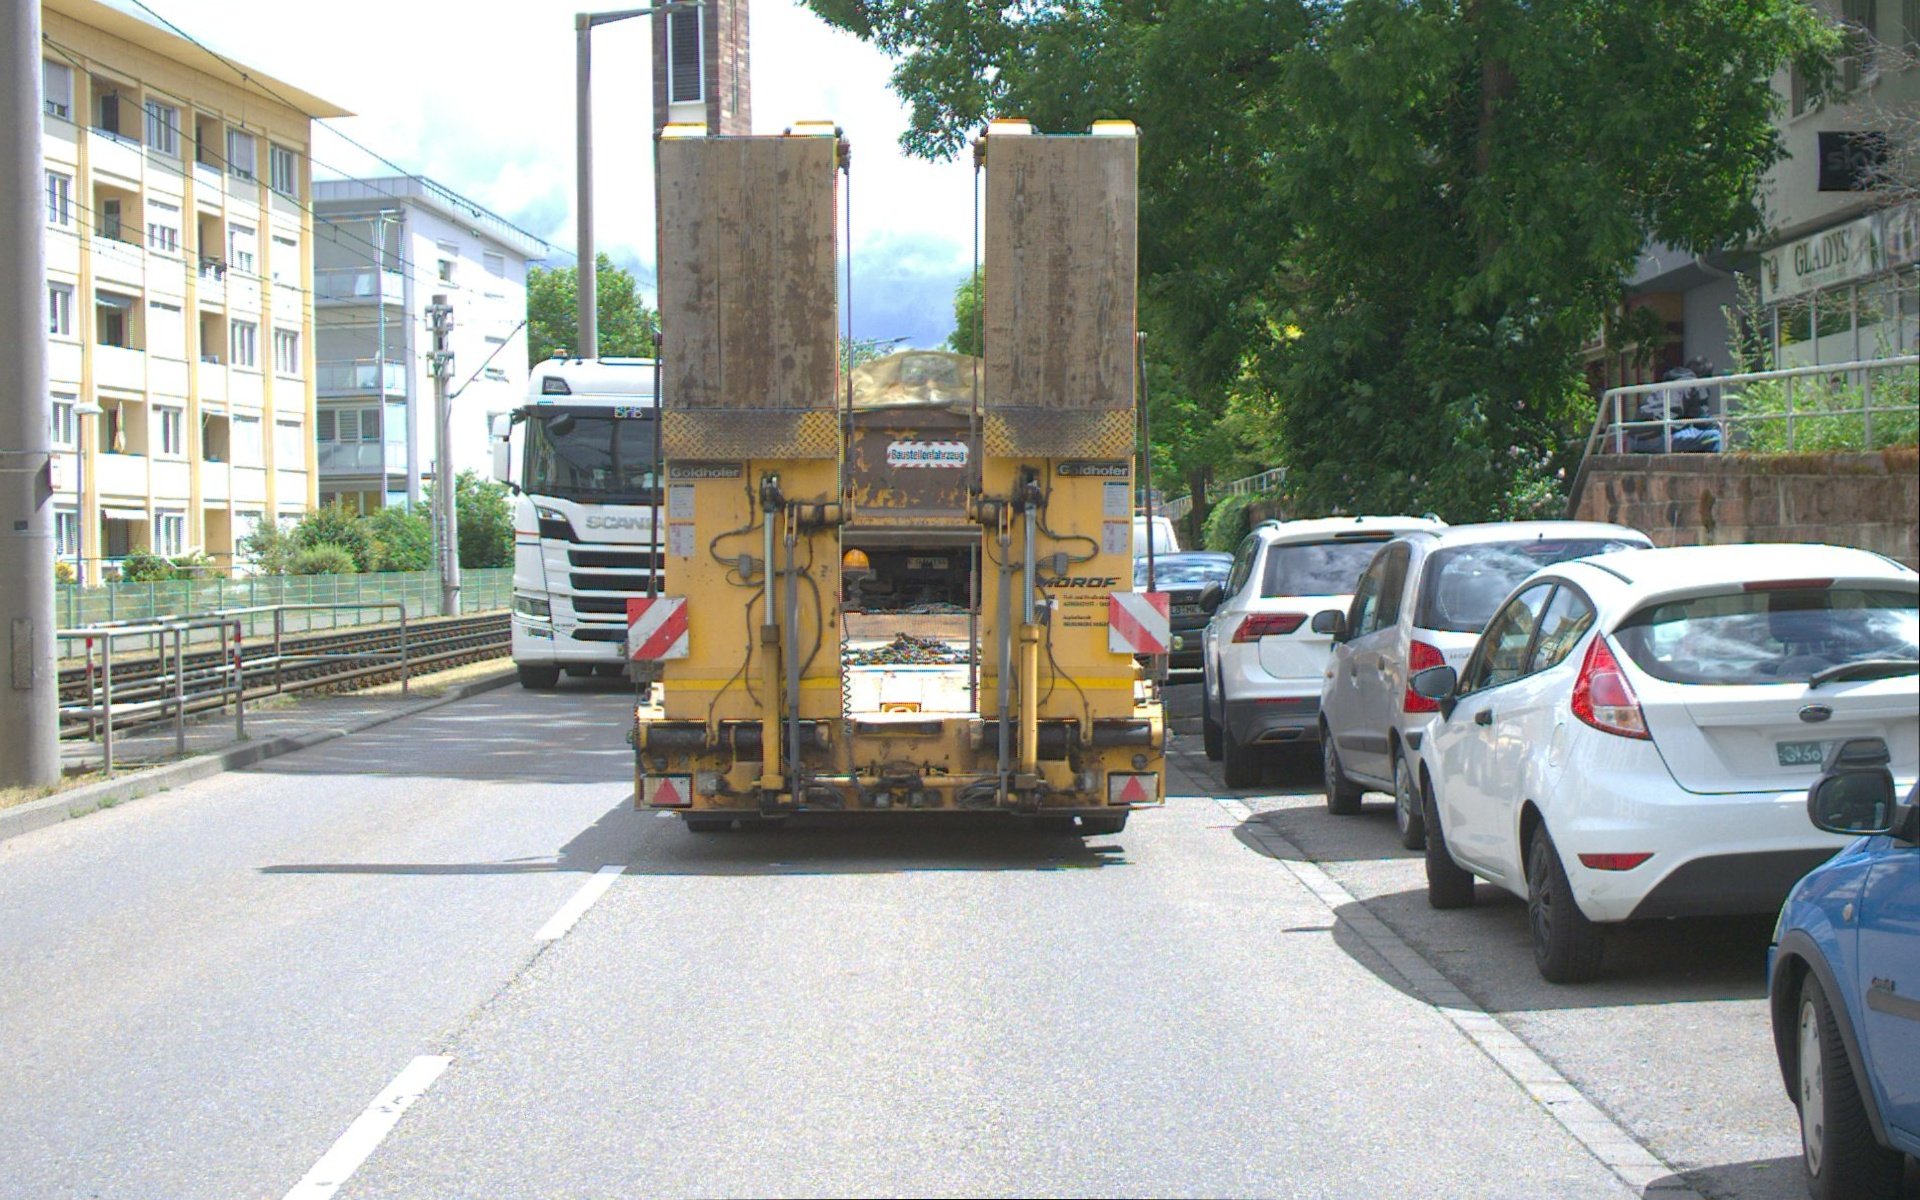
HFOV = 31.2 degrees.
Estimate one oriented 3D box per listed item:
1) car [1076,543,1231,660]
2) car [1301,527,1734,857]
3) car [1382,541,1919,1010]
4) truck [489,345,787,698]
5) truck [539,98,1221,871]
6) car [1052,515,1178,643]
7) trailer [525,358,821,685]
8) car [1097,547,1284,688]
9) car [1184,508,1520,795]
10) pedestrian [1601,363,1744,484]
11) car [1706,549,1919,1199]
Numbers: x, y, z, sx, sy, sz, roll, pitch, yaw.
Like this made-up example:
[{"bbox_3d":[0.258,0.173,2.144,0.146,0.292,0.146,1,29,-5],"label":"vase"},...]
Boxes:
[{"bbox_3d":[2.513,-0.014,45.453,1.690,1.400,4.069,-2,1,-1],"label":"car"},{"bbox_3d":[2.813,0.397,17.996,1.581,1.547,3.475,0,1,-2],"label":"car"},{"bbox_3d":[2.678,0.534,13.022,1.645,1.484,3.822,0,1,-1],"label":"car"},{"bbox_3d":[-3.440,-0.868,38.111,2.698,3.568,6.145,1,1,0],"label":"truck"},{"bbox_3d":[-0.460,-0.677,22.129,3.124,3.552,12.461,0,1,-1],"label":"truck"},{"bbox_3d":[2.487,-0.378,56.051,1.799,1.961,4.590,-2,1,0],"label":"car"},{"bbox_3d":[-3.439,-1.020,44.763,2.698,3.568,13.676,1,1,0],"label":"trailer"},{"bbox_3d":[2.499,0.151,38.230,1.836,1.400,4.414,-2,1,1],"label":"car"},{"bbox_3d":[2.488,0.255,22.829,1.824,1.676,4.575,-1,1,2],"label":"car"},{"bbox_3d":[4.770,-1.175,23.036,0.795,0.787,0.705,0,1,-1],"label":"pedestrian"},{"bbox_3d":[2.708,0.629,6.475,1.607,1.451,3.676,-2,1,-3],"label":"car"}]
